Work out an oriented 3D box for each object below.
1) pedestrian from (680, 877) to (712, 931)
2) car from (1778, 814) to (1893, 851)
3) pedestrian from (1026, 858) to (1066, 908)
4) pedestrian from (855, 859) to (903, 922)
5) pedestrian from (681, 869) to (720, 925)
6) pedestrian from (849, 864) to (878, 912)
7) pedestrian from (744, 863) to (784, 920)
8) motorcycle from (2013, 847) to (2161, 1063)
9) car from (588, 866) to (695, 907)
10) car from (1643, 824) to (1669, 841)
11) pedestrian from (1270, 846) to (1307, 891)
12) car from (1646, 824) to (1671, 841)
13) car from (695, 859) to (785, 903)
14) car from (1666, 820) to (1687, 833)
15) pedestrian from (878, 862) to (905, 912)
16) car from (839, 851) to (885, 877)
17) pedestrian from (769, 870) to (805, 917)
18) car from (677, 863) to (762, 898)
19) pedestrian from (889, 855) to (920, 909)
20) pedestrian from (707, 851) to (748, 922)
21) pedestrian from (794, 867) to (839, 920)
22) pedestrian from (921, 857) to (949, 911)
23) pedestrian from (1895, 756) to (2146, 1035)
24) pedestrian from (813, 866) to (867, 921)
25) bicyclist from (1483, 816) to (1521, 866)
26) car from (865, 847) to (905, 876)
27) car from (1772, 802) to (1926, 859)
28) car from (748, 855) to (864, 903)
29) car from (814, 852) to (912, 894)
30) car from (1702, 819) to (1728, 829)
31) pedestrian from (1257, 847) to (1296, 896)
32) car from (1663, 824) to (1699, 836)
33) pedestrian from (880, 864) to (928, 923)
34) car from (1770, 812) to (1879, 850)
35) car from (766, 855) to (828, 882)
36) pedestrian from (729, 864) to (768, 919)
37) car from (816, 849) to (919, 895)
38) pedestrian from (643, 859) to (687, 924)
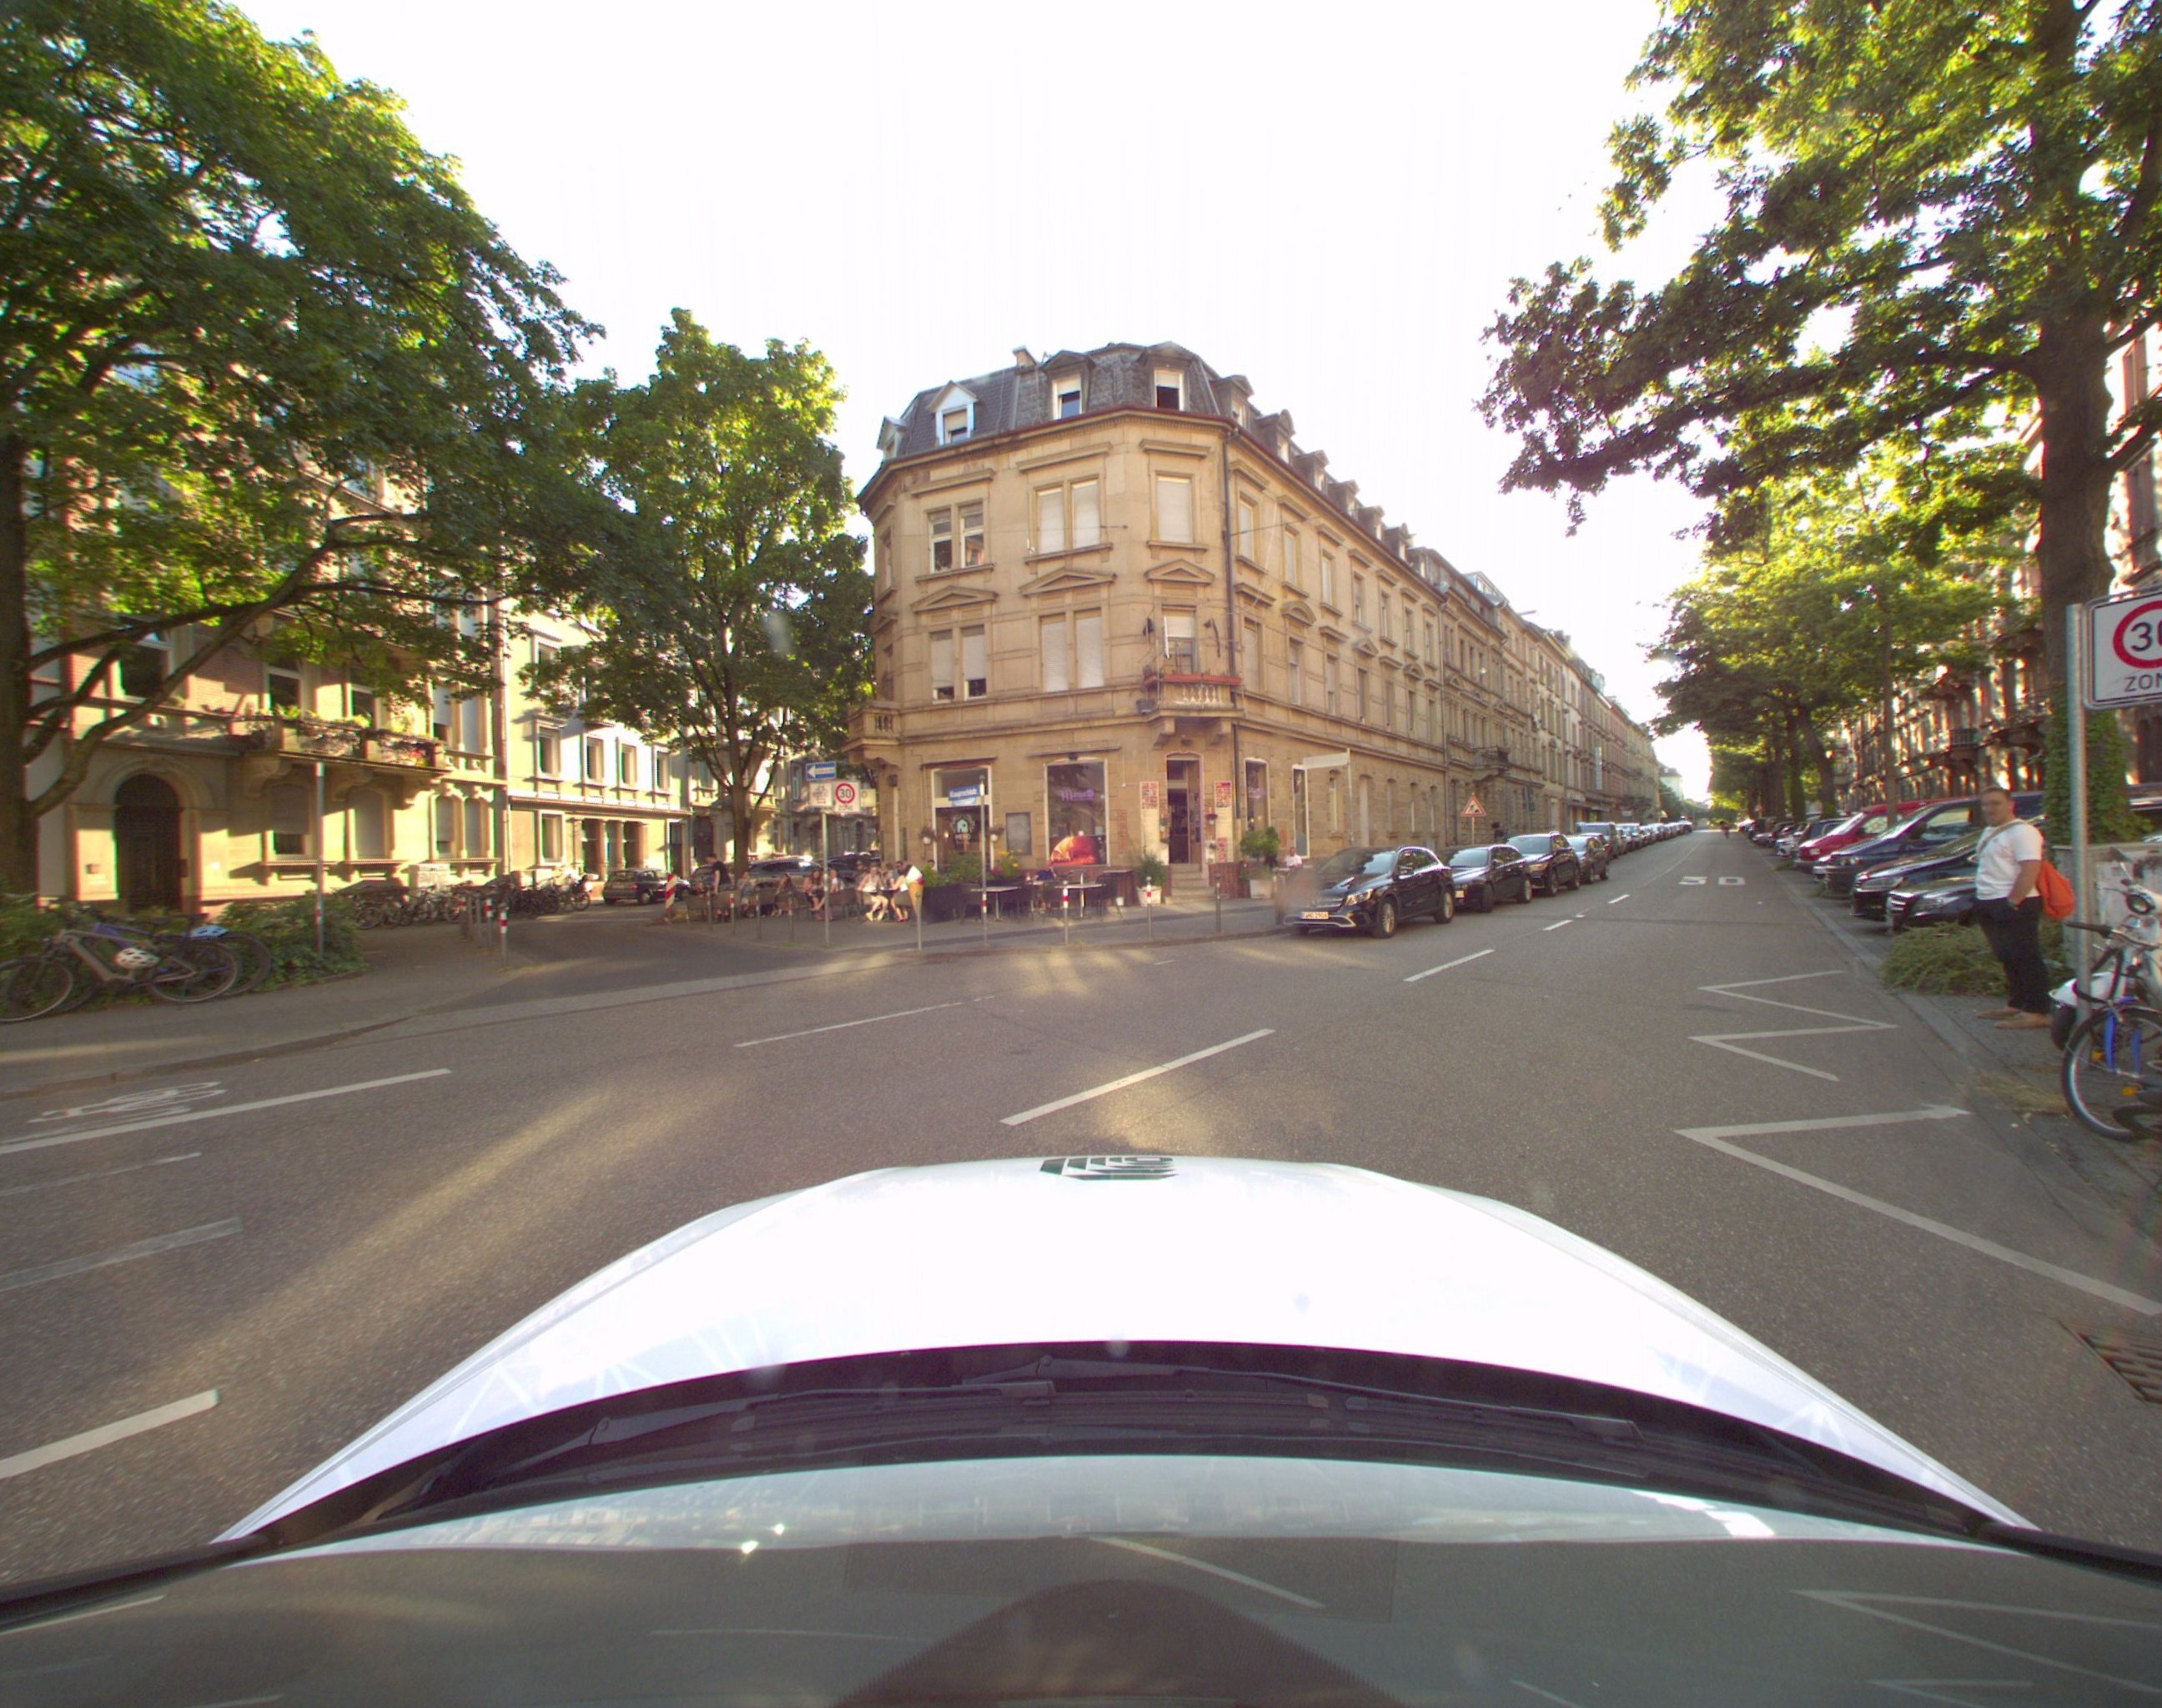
[{"bbox_3d":[-9.872,1.278,20.893,0.575,1.320,0.499,-3,1,-41],"label":"pedestrian"},{"bbox_3d":[37.043,-1.041,40.130,3.971,1.467,1.745,-4,-2,39],"label":"car"},{"bbox_3d":[-0.872,0.721,20.402,0.719,1.214,0.760,-2,0,20],"label":"pedestrian"},{"bbox_3d":[-4.739,0.849,19.095,0.747,1.411,0.732,-2,0,27],"label":"pedestrian"},{"bbox_3d":[-10.093,1.134,21.608,0.771,1.412,0.660,-3,-1,-37],"label":"pedestrian"},{"bbox_3d":[-5.797,0.894,21.711,0.476,1.248,0.514,-2,1,37],"label":"pedestrian"},{"bbox_3d":[-8.411,0.994,21.593,0.771,1.441,0.660,-3,-1,-39],"label":"pedestrian"},{"bbox_3d":[6.916,0.563,4.690,1.879,1.234,0.690,-5,-2,40],"label":"motorcycle"},{"bbox_3d":[-17.276,1.251,32.231,1.914,1.376,3.757,-2,0,5],"label":"car"},{"bbox_3d":[52.723,-1.989,74.706,1.741,1.473,4.086,-3,0,37],"label":"car"},{"bbox_3d":[5.765,0.394,22.604,0.718,1.214,0.761,-2,0,37],"label":"pedestrian"},{"bbox_3d":[55.692,-2.075,78.472,1.741,1.473,4.086,-3,0,37],"label":"car"},{"bbox_3d":[-14.673,1.104,35.268,1.985,1.684,4.003,-2,0,3],"label":"car"},{"bbox_3d":[76.186,-3.534,104.151,1.974,1.486,4.025,-2,-2,38],"label":"car"},{"bbox_3d":[-4.935,0.860,21.228,0.476,1.248,0.436,-2,1,37],"label":"pedestrian"},{"bbox_3d":[-15.244,0.691,56.825,1.798,1.684,3.757,-2,0,5],"label":"car"},{"bbox_3d":[-8.106,1.082,22.456,0.681,1.215,0.660,-3,-1,-41],"label":"pedestrian"},{"bbox_3d":[-16.537,1.180,37.445,1.914,1.376,3.757,-2,0,5],"label":"car"},{"bbox_3d":[-4.787,0.746,22.086,0.562,1.431,0.485,-2,1,28],"label":"pedestrian"},{"bbox_3d":[-9.112,0.831,21.015,0.771,1.770,0.565,-3,-1,-39],"label":"pedestrian"},{"bbox_3d":[-6.561,0.973,20.218,0.697,1.248,0.754,-2,1,37],"label":"pedestrian"},{"bbox_3d":[-3.747,0.763,20.920,0.476,1.367,0.436,-2,1,31],"label":"pedestrian"},{"bbox_3d":[7.066,0.286,6.217,1.103,1.898,0.848,-2,0,42],"label":"pedestrian"},{"bbox_3d":[-5.832,0.942,19.693,1.011,1.248,0.754,-2,1,36],"label":"pedestrian"},{"bbox_3d":[15.623,-0.487,30.207,0.986,1.790,1.215,-2,-1,40],"label":"bicyclist"},{"bbox_3d":[-14.907,0.555,62.111,1.798,2.085,3.757,-2,0,5],"label":"car"},{"bbox_3d":[32.150,-0.963,34.287,4.400,1.924,1.862,-5,-1,36],"label":"car"},{"bbox_3d":[-10.202,0.884,30.187,3.844,1.562,1.787,-2,0,-27],"label":"car"},{"bbox_3d":[-9.754,0.809,36.350,4.003,1.684,1.985,-2,0,-22],"label":"car"},{"bbox_3d":[128.110,-6.143,164.620,1.761,1.859,3.951,-3,1,-43],"label":"car"},{"bbox_3d":[5.187,0.451,21.579,0.718,1.259,0.761,-2,0,37],"label":"pedestrian"},{"bbox_3d":[82.703,-3.337,112.241,3.999,1.486,1.987,-1,-1,-19],"label":"car"},{"bbox_3d":[-4.045,0.886,18.639,0.736,1.289,0.747,-2,0,29],"label":"pedestrian"},{"bbox_3d":[38.370,-1.171,42.167,3.971,1.607,1.745,-4,-2,39],"label":"car"},{"bbox_3d":[-16.174,0.792,46.585,1.914,1.376,3.757,-2,0,5],"label":"car"},{"bbox_3d":[-9.123,1.028,22.316,0.771,1.441,0.660,-3,-1,-39],"label":"pedestrian"},{"bbox_3d":[-8.778,0.711,33.839,3.990,1.684,1.992,-2,0,-12],"label":"car"},{"bbox_3d":[-11.220,1.009,21.950,0.659,1.669,0.772,-4,-1,37],"label":"pedestrian"}]
